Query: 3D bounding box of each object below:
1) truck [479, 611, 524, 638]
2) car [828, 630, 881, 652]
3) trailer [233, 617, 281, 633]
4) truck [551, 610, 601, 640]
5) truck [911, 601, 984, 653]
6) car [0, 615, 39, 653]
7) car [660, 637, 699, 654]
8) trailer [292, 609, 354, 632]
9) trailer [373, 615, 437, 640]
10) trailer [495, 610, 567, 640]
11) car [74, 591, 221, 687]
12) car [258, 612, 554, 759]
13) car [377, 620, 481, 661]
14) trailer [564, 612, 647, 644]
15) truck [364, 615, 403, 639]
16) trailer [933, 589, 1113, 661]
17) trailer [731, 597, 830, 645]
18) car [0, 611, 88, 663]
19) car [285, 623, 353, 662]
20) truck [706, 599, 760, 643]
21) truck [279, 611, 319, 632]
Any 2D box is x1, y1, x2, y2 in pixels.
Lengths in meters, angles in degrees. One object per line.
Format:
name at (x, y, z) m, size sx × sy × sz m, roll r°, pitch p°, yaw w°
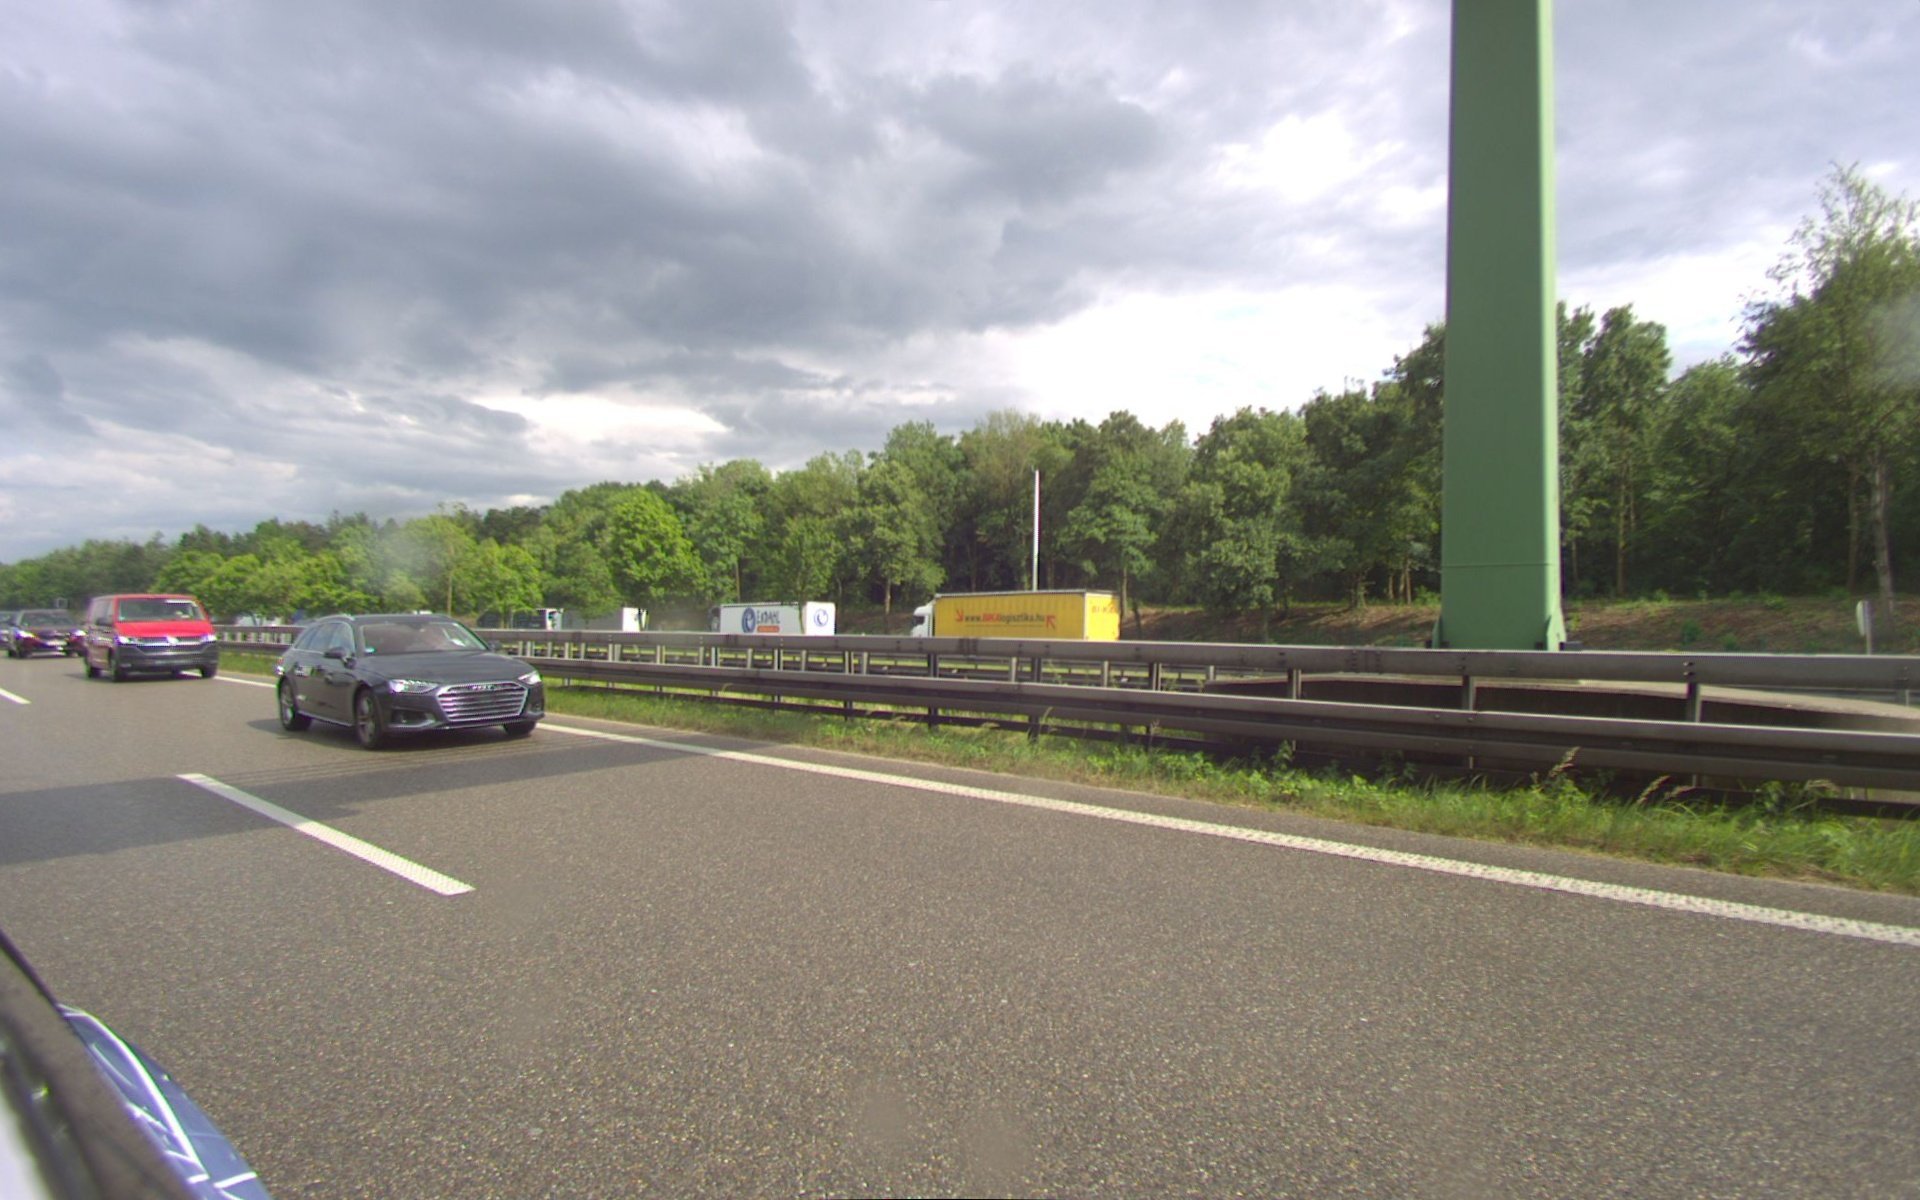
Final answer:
truck at (-56.090, 2.999, 123.816) m, size 6.533 × 3.275 × 2.548 m, roll -1°, pitch -2°, yaw 41°
car at (-7.559, 2.910, 72.325) m, size 1.871 × 1.514 × 4.006 m, roll 2°, pitch -2°, yaw -41°
trailer at (-115.420, 4.094, 166.101) m, size 9.841 × 2.594 × 2.511 m, roll 0°, pitch -1°, yaw 30°
truck at (-42.087, 2.790, 110.851) m, size 5.597 × 3.208 × 3.009 m, roll -1°, pitch -2°, yaw 43°
truck at (-0.827, 1.643, 63.411) m, size 1.950 × 3.121 × 5.088 m, roll -1°, pitch 0°, yaw -36°
car at (-42.238, 1.483, 44.685) m, size 4.052 × 1.578 × 1.870 m, roll -1°, pitch -1°, yaw 41°
car at (-26.324, 4.208, 94.892) m, size 1.873 × 1.514 × 4.003 m, roll 2°, pitch -2°, yaw -44°
trailer at (-97.931, 3.122, 155.401) m, size 13.378 × 3.296 × 3.050 m, roll -1°, pitch -2°, yaw 35°
trailer at (-77.408, 3.803, 141.017) m, size 12.634 × 3.296 × 3.153 m, roll -1°, pitch -2°, yaw 39°
trailer at (-50.475, 2.908, 118.877) m, size 12.643 × 3.296 × 2.577 m, roll -1°, pitch -2°, yaw 41°
car at (-18.852, 0.851, 23.402) m, size 4.748 × 2.000 × 1.870 m, roll -1°, pitch -1°, yaw 41°
car at (-6.727, 0.876, 12.064) m, size 4.466 × 1.422 × 1.701 m, roll -1°, pitch -1°, yaw 42°
car at (-18.255, 1.365, 34.743) m, size 3.998 × 1.306 × 1.825 m, roll -1°, pitch -2°, yaw 41°
trailer at (-37.232, 2.909, 105.989) m, size 12.175 × 3.217 × 2.986 m, roll -1°, pitch -2°, yaw 44°
truck at (-82.871, 3.894, 145.483) m, size 5.386 × 3.280 × 3.142 m, roll -1°, pitch -3°, yaw 39°
trailer at (3.176, 1.307, 57.885) m, size 1.967 × 3.722 × 13.690 m, roll 0°, pitch 0°, yaw -36°
trailer at (-14.613, 1.719, 81.279) m, size 2.155 × 3.627 × 11.736 m, roll 2°, pitch -2°, yaw -41°
car at (-32.176, 1.254, 35.461) m, size 4.293 × 1.682 × 1.870 m, roll -1°, pitch -1°, yaw 41°
car at (-34.092, 2.215, 53.794) m, size 4.394 × 1.980 × 1.972 m, roll -1°, pitch -1°, yaw 42°
truck at (-19.514, 1.856, 86.876) m, size 2.136 × 3.648 × 5.586 m, roll 2°, pitch -2°, yaw -41°
truck at (-104.493, 3.374, 159.989) m, size 6.083 × 3.280 × 3.046 m, roll 0°, pitch -3°, yaw 35°
